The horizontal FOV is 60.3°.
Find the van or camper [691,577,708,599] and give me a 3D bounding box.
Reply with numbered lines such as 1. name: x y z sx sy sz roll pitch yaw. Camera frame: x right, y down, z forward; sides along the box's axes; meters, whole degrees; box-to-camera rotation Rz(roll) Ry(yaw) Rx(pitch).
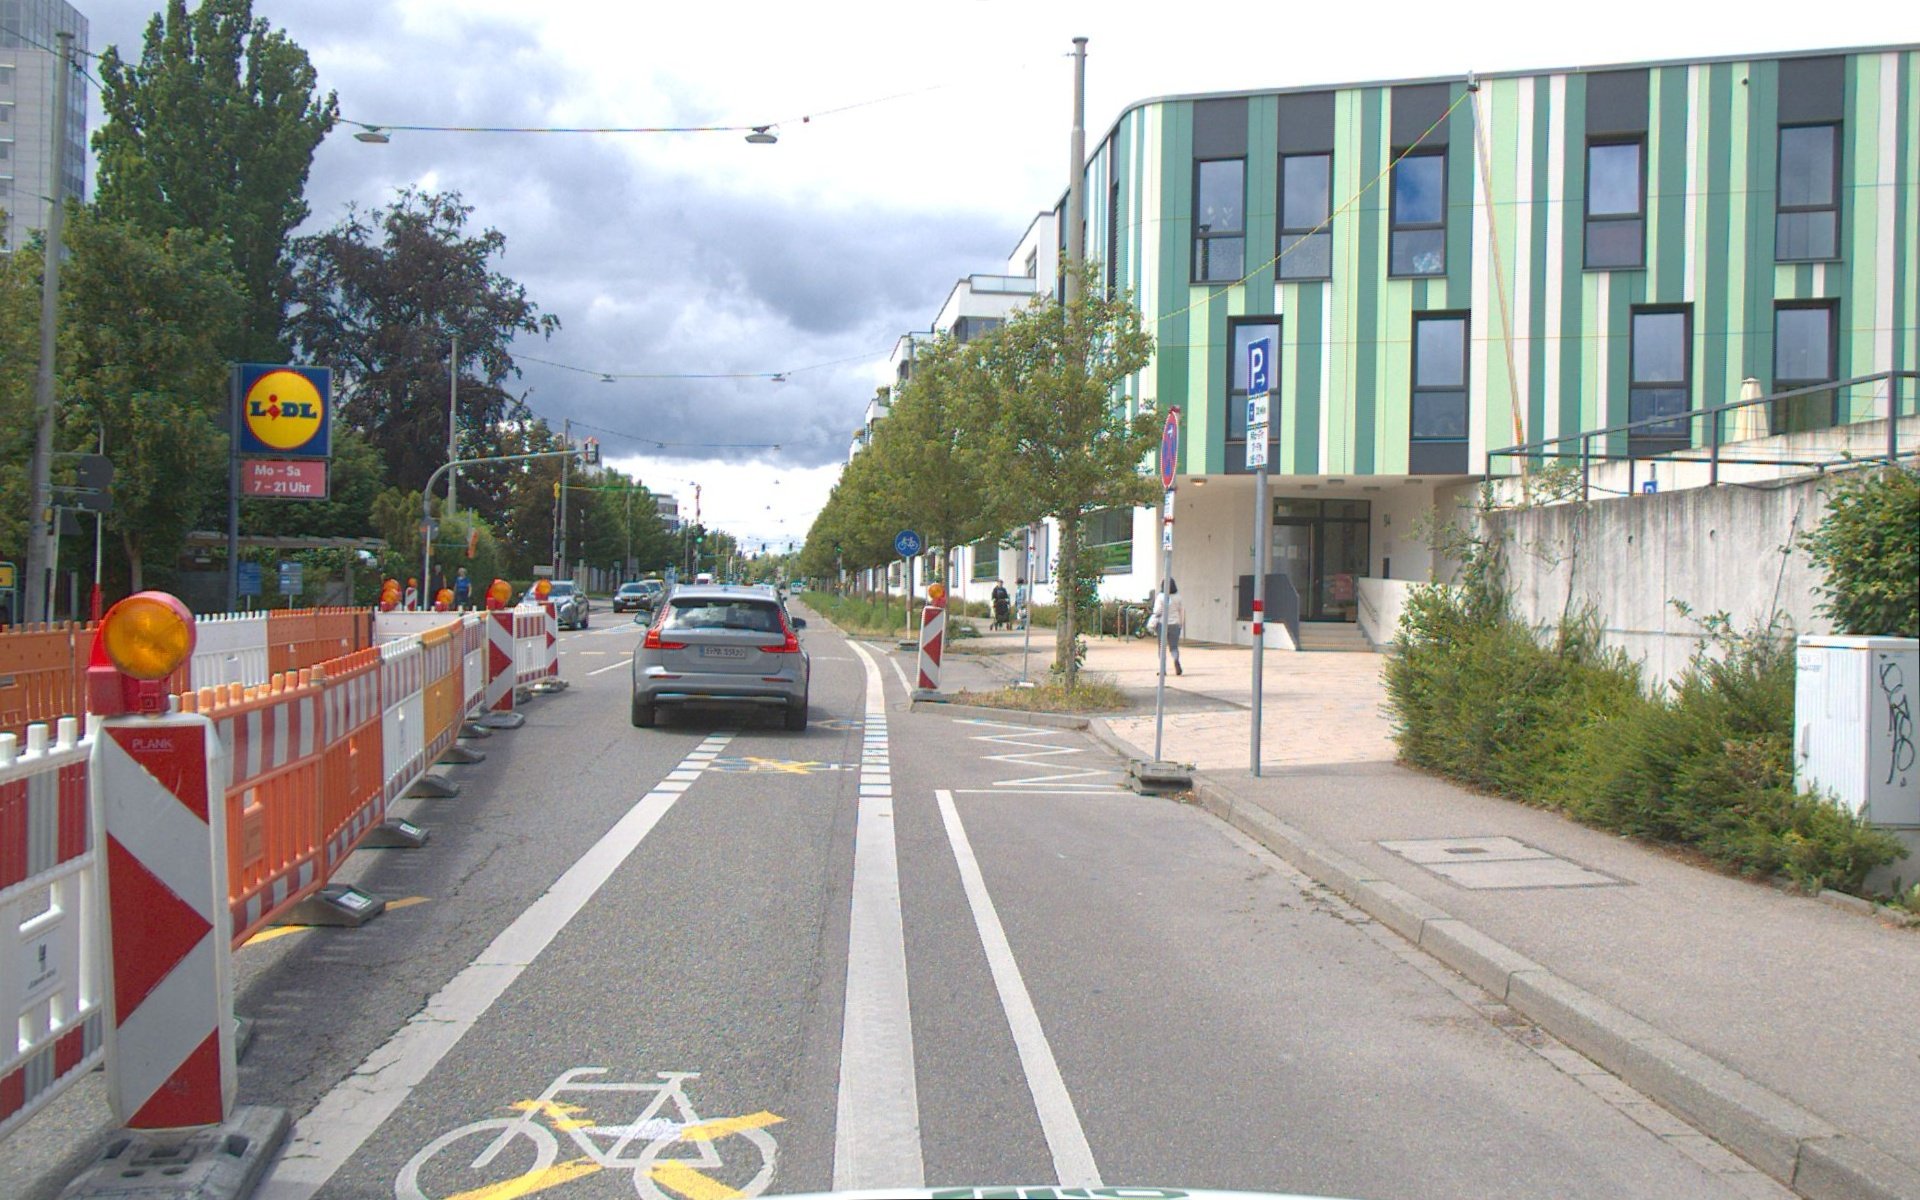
1. van or camper: -33.677 -1.502 213.522 1.958 2.782 6.037 0 0 -11

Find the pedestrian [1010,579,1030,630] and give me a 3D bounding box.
1. pedestrian: 1.954 0.145 54.108 0.540 1.684 0.606 0 0 -7

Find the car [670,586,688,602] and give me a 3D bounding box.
1. car: -29.238 -0.634 172.097 1.629 1.542 3.994 1 0 -7

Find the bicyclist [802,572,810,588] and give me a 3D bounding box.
1. bicyclist: -19.756 -2.570 212.231 0.995 2.049 1.129 0 0 -8

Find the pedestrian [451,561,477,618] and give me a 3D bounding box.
1. pedestrian: -16.737 -0.358 55.787 0.668 1.887 0.891 1 0 -7

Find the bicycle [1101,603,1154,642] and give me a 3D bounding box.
1. bicycle: 4.550 0.612 44.956 1.442 1.064 0.305 0 0 -19

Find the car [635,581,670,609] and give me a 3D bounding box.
1. car: -18.044 -0.288 97.273 1.716 1.583 4.396 0 0 -7

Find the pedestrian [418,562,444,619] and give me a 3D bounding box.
1. pedestrian: -17.747 -0.323 55.518 0.668 1.887 0.705 1 0 -7

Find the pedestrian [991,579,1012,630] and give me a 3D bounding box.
1. pedestrian: 1.369 0.139 54.655 0.593 1.684 0.551 0 0 -7

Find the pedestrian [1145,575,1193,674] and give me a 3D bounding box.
1. pedestrian: 3.357 0.388 26.614 0.570 1.579 0.867 0 0 -7

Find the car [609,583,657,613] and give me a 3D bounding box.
1. car: -16.466 -0.120 83.368 1.955 1.424 4.804 -1 0 -7

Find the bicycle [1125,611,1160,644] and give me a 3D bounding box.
1. bicycle: 4.856 0.722 43.908 1.015 0.856 0.303 0 0 -40

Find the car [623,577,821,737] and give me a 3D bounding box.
1. car: -2.517 0.556 18.356 1.818 1.539 3.997 2 0 -4

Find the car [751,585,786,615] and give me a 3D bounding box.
1. car: -10.337 -0.004 89.057 1.810 1.539 3.994 2 0 -7

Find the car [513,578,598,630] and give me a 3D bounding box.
1. car: -12.532 0.125 51.502 1.817 1.539 3.998 0 0 -3

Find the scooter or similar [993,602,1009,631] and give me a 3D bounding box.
1. scooter or similar: 1.345 0.532 54.143 0.413 0.921 0.681 0 0 -7

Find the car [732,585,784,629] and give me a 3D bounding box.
1. car: -7.600 0.250 62.179 1.819 1.539 3.994 2 0 -7

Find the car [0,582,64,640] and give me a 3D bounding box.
1. car: -25.845 0.266 44.204 1.955 1.478 3.994 0 0 -7
